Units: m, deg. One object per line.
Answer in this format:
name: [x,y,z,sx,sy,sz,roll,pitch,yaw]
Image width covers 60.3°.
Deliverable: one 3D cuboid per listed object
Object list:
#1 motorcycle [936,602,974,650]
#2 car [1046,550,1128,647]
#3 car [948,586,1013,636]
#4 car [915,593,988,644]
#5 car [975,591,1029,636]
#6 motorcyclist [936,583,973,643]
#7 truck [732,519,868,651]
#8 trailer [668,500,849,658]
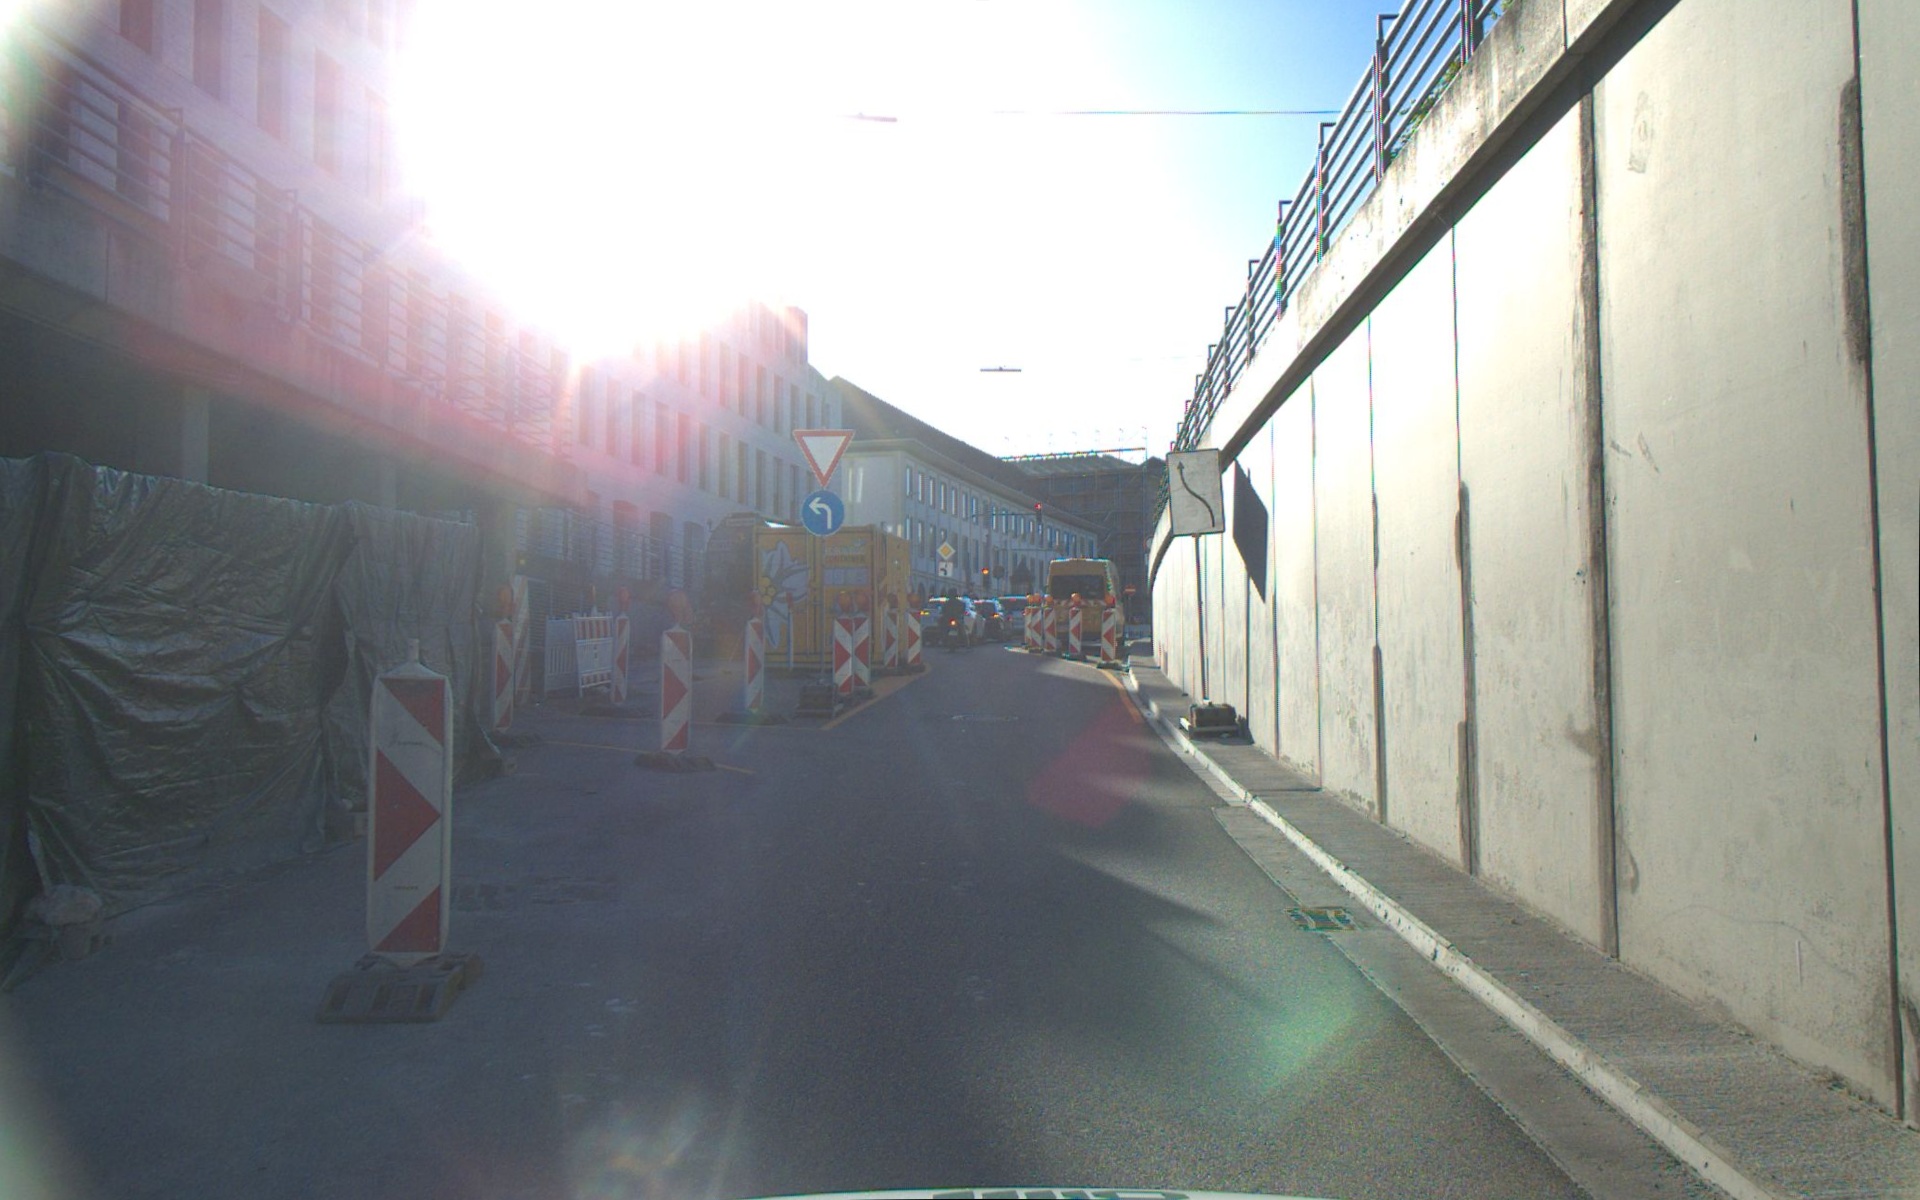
motorcycle: [-0.157,0.680,44.463,0.888,1.204,2.577,0,1,-3]
car: [3.884,-0.021,49.542,2.067,2.671,6.992,-1,-1,7]
car: [0.748,0.426,57.596,1.736,1.578,4.109,-1,-2,8]
car: [-0.228,0.542,51.269,1.820,1.498,4.003,1,0,6]
car: [1.719,0.545,66.877,1.765,1.751,4.166,-1,0,7]
motorcyclist: [-0.161,0.339,44.454,0.935,1.587,1.238,0,1,-3]
truck: [-4.686,-0.404,49.672,2.525,3.550,5.820,-4,-1,8]
trailer: [-5.307,-0.500,45.430,2.586,3.732,8.755,-5,-1,7]
